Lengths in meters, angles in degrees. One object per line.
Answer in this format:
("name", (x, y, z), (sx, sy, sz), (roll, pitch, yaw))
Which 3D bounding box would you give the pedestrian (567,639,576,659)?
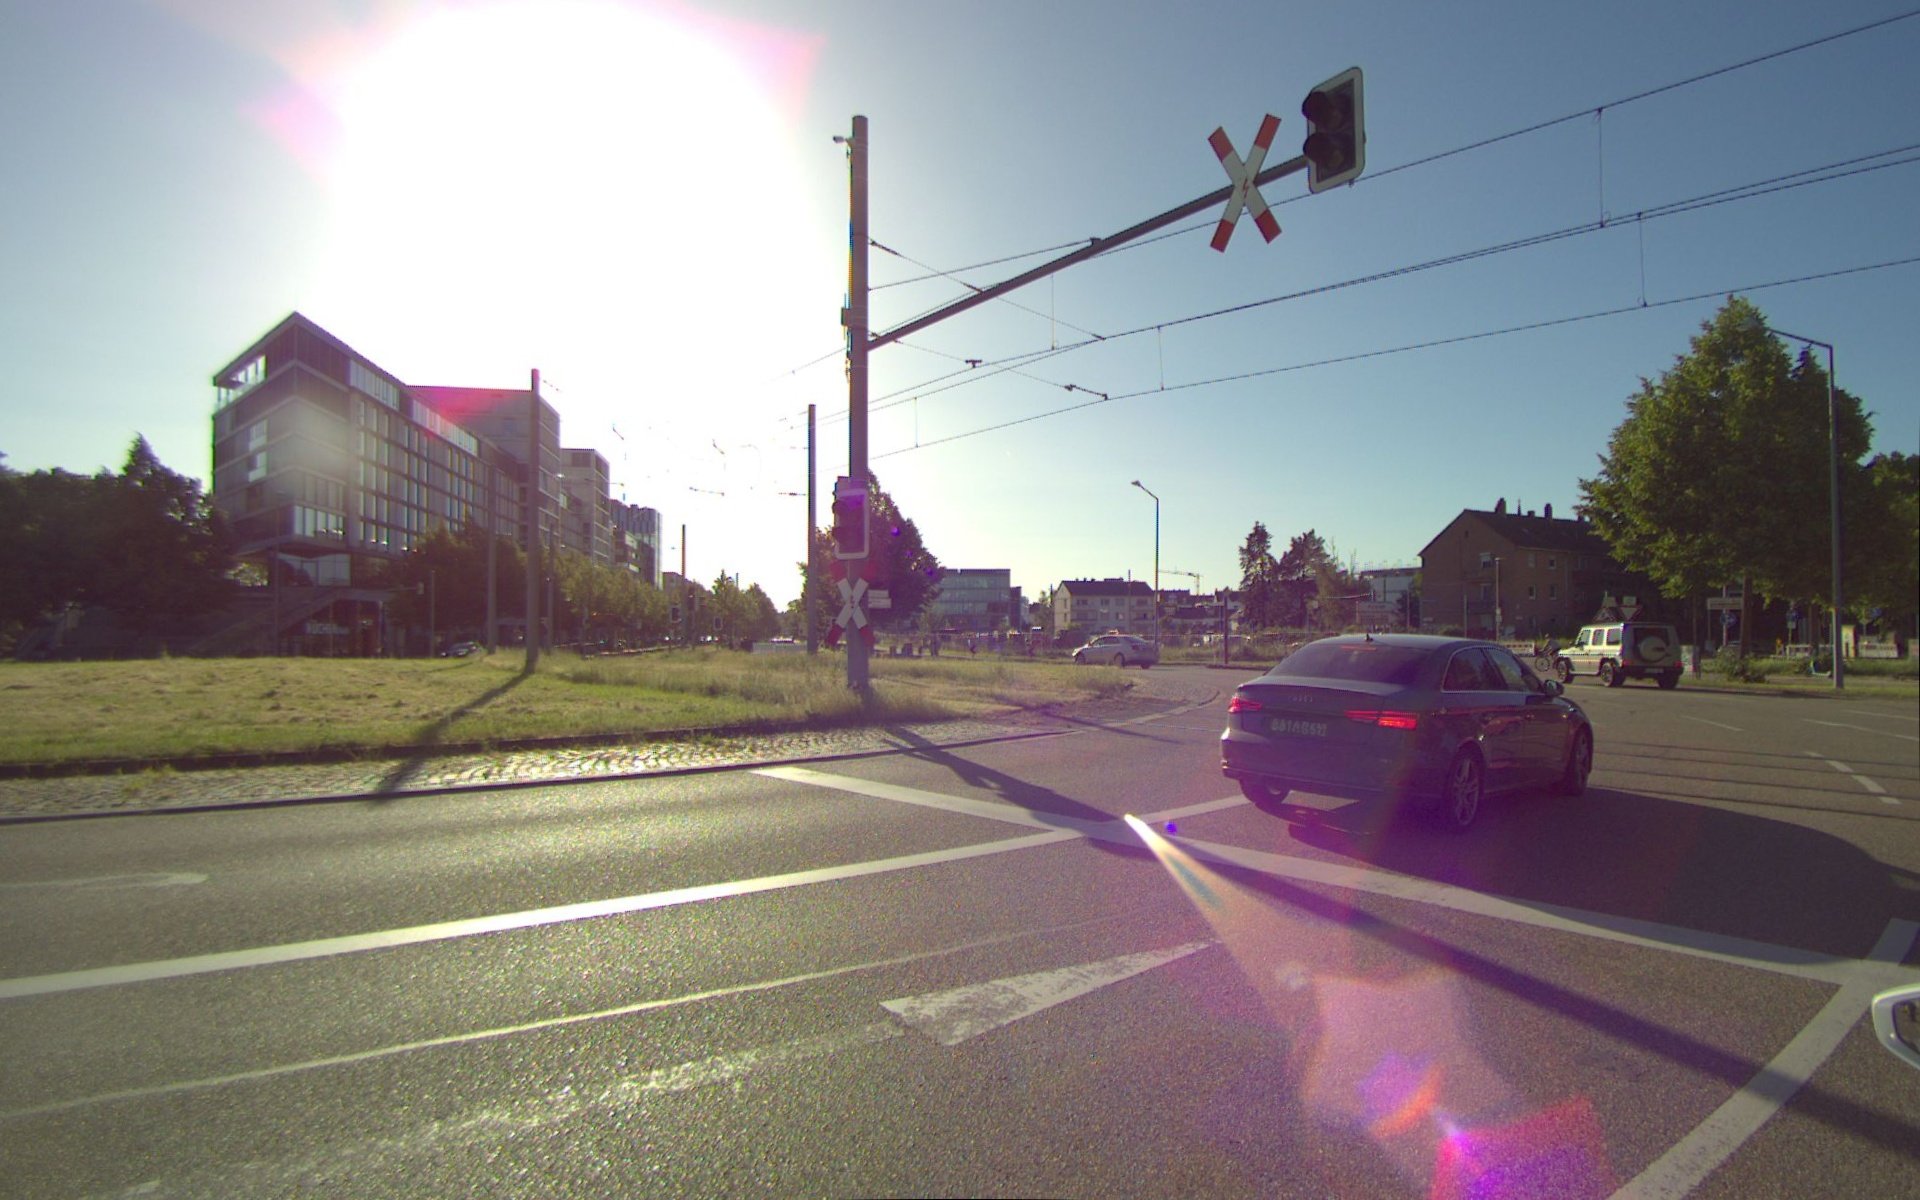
("pedestrian", (-28.540, 3.618, 73.806), (0.546, 1.485, 0.676), (1, -2, -12))

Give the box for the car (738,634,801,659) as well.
("car", (-12.683, 3.055, 66.653), (4.348, 1.596, 1.988), (-2, -2, 44))

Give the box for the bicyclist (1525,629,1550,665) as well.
("bicyclist", (27.653, 2.247, 48.109), (0.736, 1.703, 0.844), (-1, 0, -40))

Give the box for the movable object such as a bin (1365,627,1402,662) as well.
("movable object such as a bin", (35.605, 3.722, 84.573), (2.378, 2.809, 4.002), (1, -2, 16))

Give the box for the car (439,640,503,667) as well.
("car", (-34.180, 3.736, 70.312), (1.740, 1.808, 3.919), (0, -2, 18))

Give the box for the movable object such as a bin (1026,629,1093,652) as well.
("movable object such as a bin", (12.268, 5.030, 124.498), (7.785, 2.819, 2.940), (0, -2, -7))

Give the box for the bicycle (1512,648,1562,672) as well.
("bicycle", (27.649, 2.879, 48.151), (0.736, 1.041, 1.987), (-1, 0, -40))

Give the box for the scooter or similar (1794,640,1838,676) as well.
("scooter or similar", (31.064, 2.112, 36.464), (0.436, 1.264, 1.264), (2, -3, -7))

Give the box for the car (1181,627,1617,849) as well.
("car", (3.909, 0.949, 8.565), (4.324, 1.398, 1.745), (2, -1, -41))

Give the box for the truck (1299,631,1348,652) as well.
("truck", (37.670, 4.297, 104.310), (2.131, 2.040, 6.430), (2, -2, -7))

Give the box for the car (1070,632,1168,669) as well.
("car", (7.127, 2.253, 45.486), (1.979, 1.596, 4.367), (1, -2, -34))

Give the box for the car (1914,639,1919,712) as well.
("car", (19.064, 1.432, 18.207), (1.689, 1.455, 4.143), (0, -2, 31))

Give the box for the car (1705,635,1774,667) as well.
("car", (49.887, 3.268, 64.266), (3.949, 1.896, 1.986), (3, -2, -27))

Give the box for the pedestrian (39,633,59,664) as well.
("pedestrian", (-61.620, 3.284, 67.949), (0.825, 2.040, 0.635), (1, -2, -31))

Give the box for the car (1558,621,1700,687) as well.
("car", (21.009, 1.674, 31.823), (1.963, 1.922, 4.757), (0, -2, 10))

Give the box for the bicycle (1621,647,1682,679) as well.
("bicycle", (29.450, 2.668, 42.825), (0.804, 1.282, 2.204), (2, -2, -12))

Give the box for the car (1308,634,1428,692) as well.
("car", (11.740, 1.778, 29.180), (1.773, 1.480, 3.809), (2, -1, -2))

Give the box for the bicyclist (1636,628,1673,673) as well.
("bicyclist", (29.505, 2.131, 42.699), (0.798, 1.876, 1.023), (2, -2, -13))
